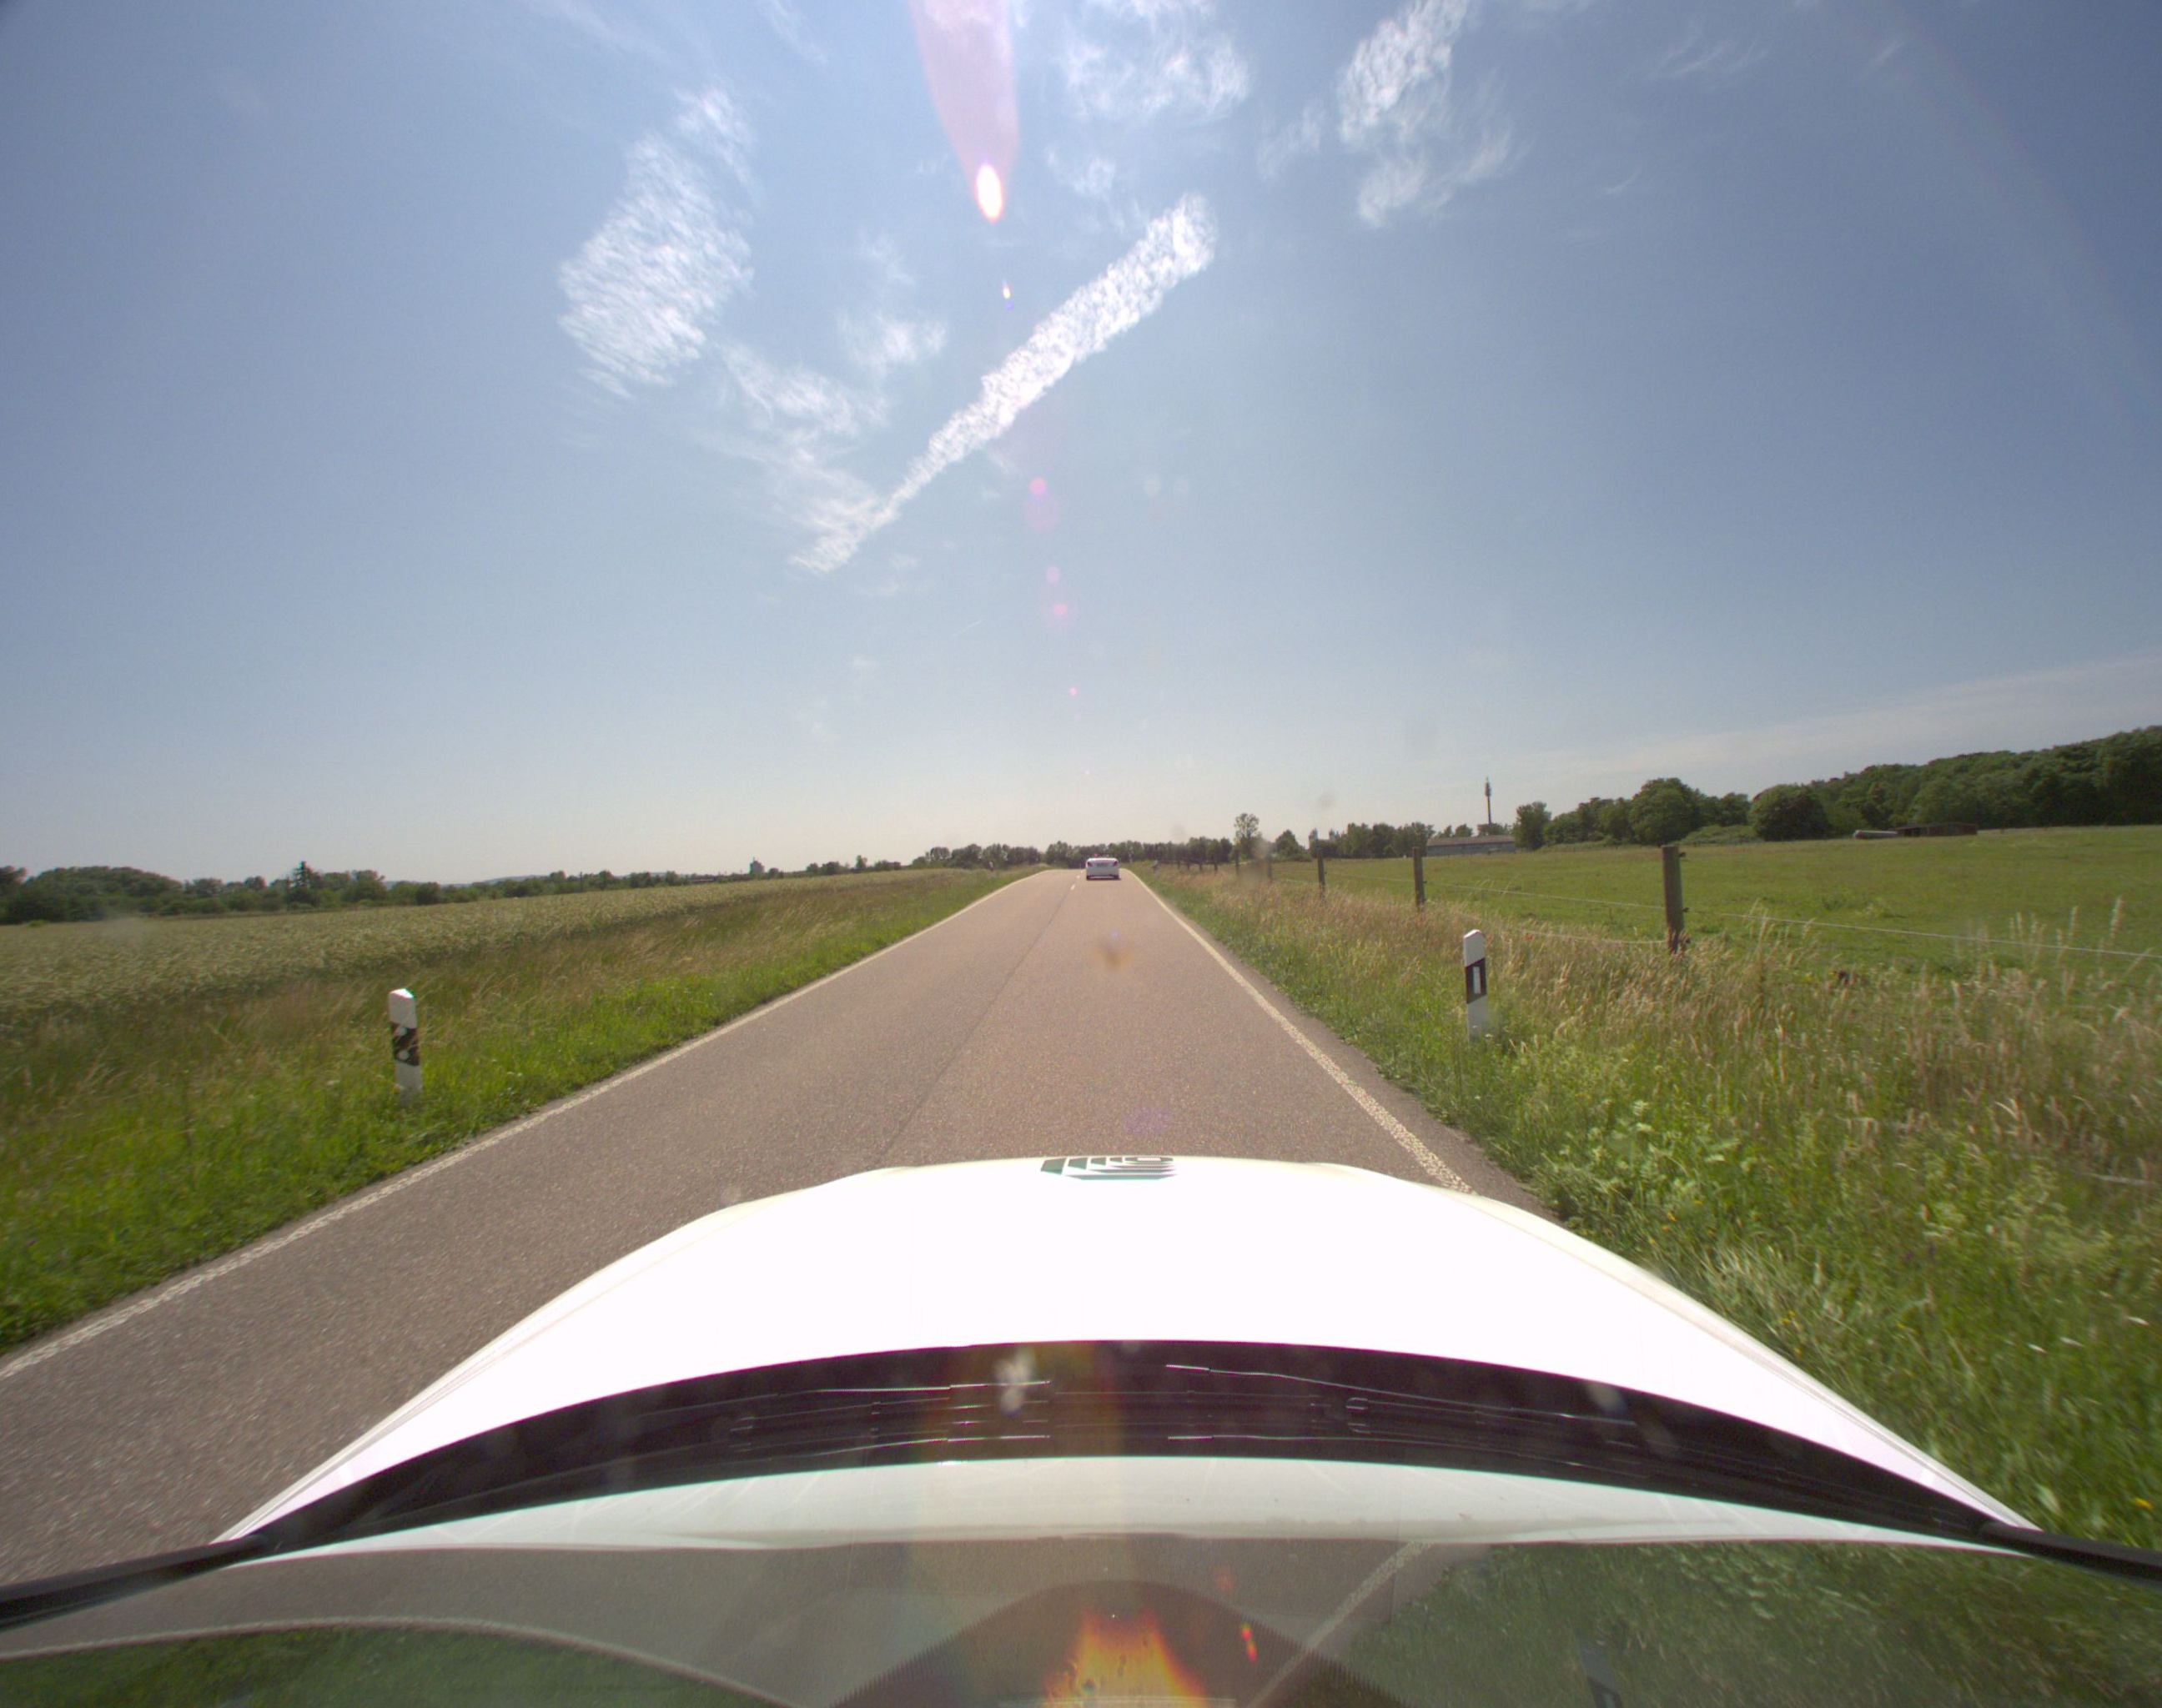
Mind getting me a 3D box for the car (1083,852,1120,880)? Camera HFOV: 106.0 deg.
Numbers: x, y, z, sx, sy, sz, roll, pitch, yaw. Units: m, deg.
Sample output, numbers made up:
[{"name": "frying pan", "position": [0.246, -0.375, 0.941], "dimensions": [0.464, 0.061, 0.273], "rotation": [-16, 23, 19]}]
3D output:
[{"name": "car", "position": [1.069, 0.588, 42.760], "dimensions": [1.844, 1.379, 4.000], "rotation": [-1, 0, 1]}]
